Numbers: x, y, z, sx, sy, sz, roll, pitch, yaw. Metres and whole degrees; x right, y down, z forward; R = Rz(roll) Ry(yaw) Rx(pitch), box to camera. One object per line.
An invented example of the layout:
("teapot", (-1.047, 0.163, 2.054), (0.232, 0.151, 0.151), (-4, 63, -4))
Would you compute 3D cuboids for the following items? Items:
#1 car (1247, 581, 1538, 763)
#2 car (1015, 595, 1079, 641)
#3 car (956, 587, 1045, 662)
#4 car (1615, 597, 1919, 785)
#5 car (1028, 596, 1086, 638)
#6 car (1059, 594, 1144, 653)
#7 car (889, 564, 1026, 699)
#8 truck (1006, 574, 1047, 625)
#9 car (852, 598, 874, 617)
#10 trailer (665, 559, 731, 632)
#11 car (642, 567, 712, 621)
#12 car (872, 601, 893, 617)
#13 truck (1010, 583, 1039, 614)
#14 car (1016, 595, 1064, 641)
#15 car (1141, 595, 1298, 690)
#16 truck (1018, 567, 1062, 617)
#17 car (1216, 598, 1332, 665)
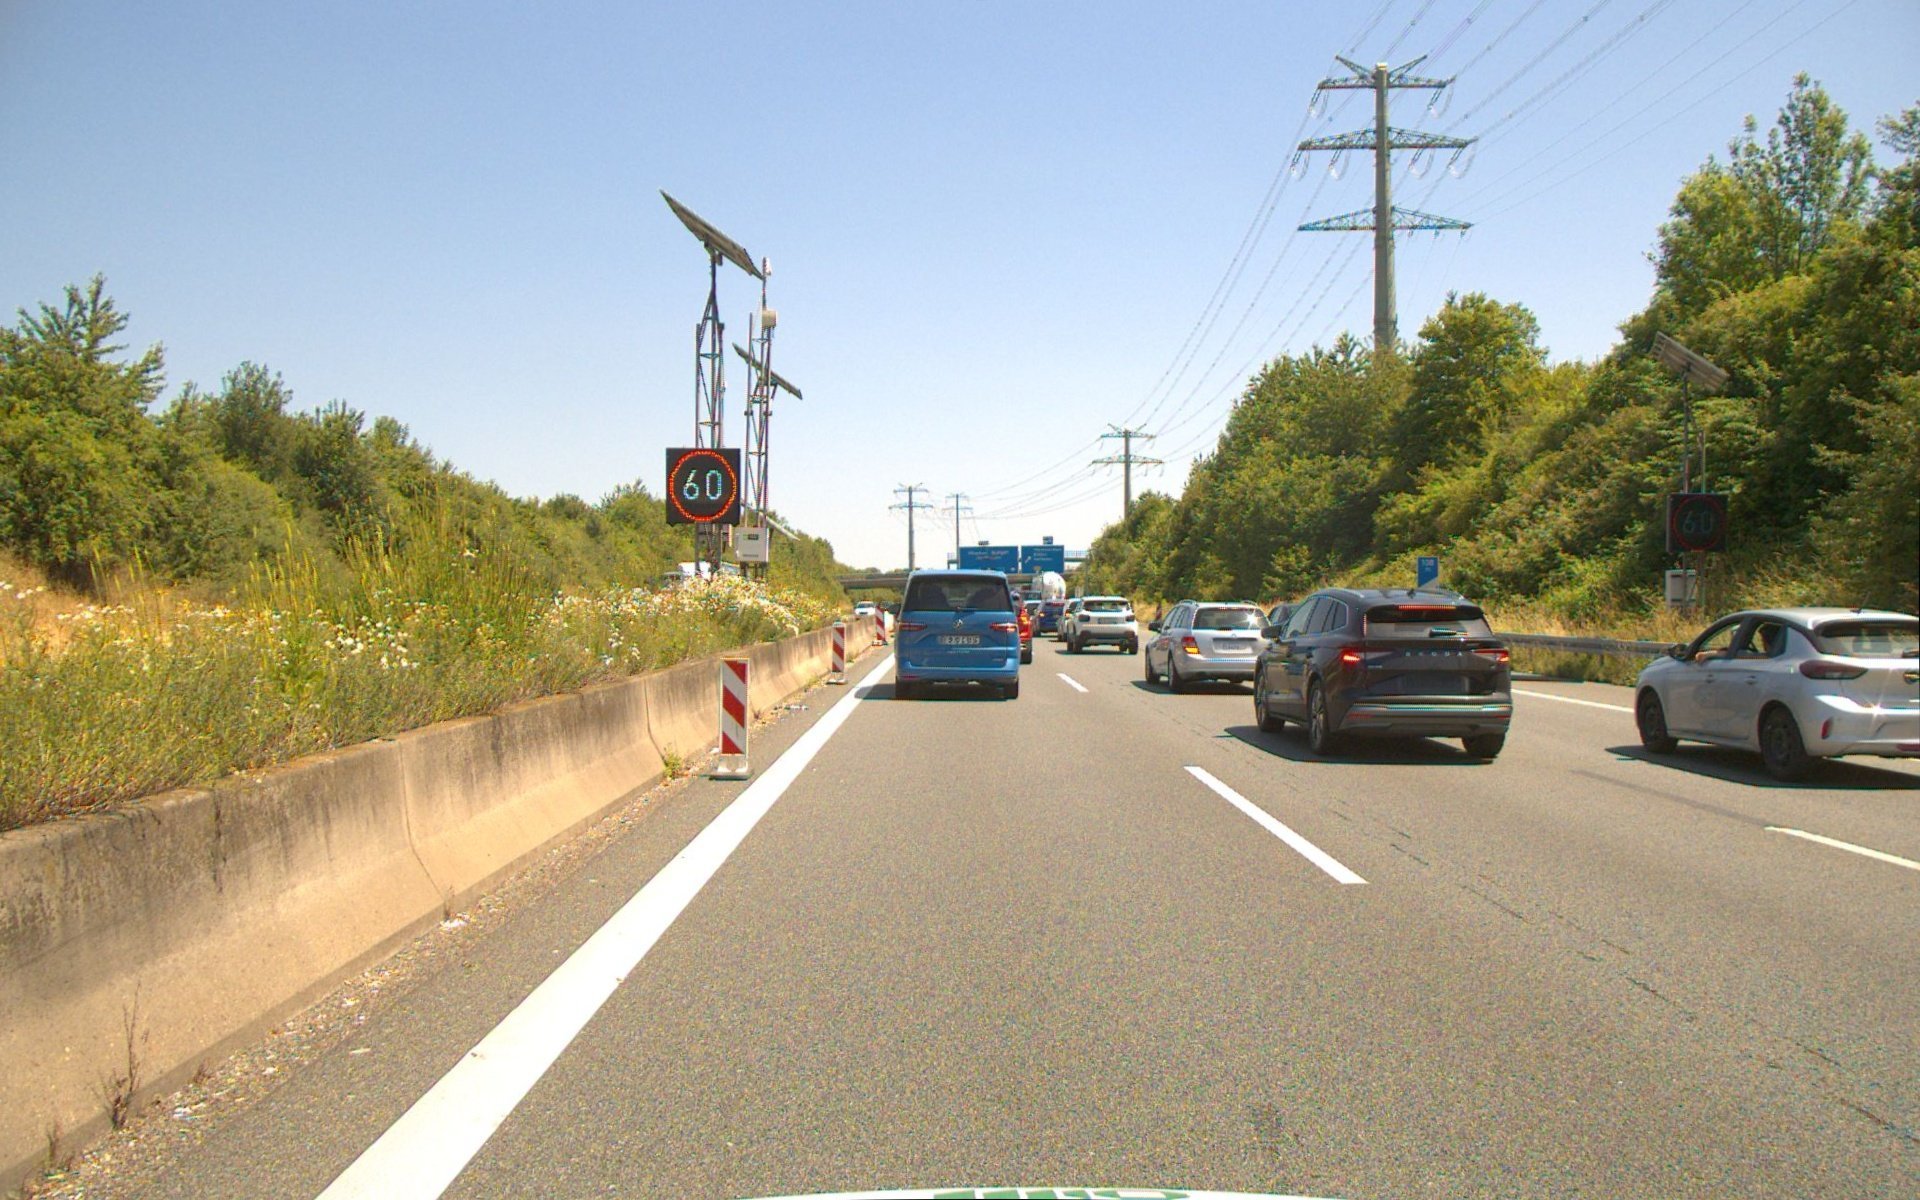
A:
("car", (4.336, 0.646, 17.323), (1.791, 1.642, 4.430), (1, 0, -1))
("car", (3.026, 0.612, 58.334), (1.870, 1.542, 4.381), (1, 0, -2))
("car", (0.894, 0.540, 38.769), (1.870, 1.659, 4.382), (0, 0, -2))
("car", (7.746, 0.737, 15.350), (1.705, 1.496, 4.013), (1, 0, -1))
("car", (3.809, 0.650, 65.559), (1.870, 1.542, 4.381), (1, 0, -2))
("car", (3.903, 0.632, 46.095), (1.870, 1.534, 3.920), (1, 0, -2))
("car", (-0.126, 0.455, 25.955), (1.834, 1.912, 4.380), (1, 0, -4))
("truck", (3.731, -0.017, 93.902), (1.953, 2.771, 5.678), (1, 0, -1))
("car", (-7.762, 0.562, 132.510), (1.551, 1.468, 4.000), (1, 0, 0))
("trailer", (-15.502, -0.271, 98.128), (2.900, 4.127, 5.433), (-2, 0, 0))
("car", (-11.609, -0.248, 68.207), (1.953, 2.128, 5.228), (-1, 0, 0))
("car", (-8.079, 0.908, 171.882), (1.953, 1.573, 4.912), (-1, 0, 0))
("truck", (7.614, -0.193, 197.347), (2.591, 3.600, 12.548), (1, 0, -1))
("car", (3.702, 0.830, 77.383), (1.953, 2.049, 3.999), (1, 0, -1))
("car", (4.293, 0.660, 28.010), (1.784, 1.462, 4.381), (1, 0, -2))
("truck", (6.903, -0.685, 145.506), (2.591, 4.143, 16.436), (1, 0, -1))
("car", (7.091, 0.680, 37.728), (1.699, 1.402, 4.301), (1, 0, -2))
